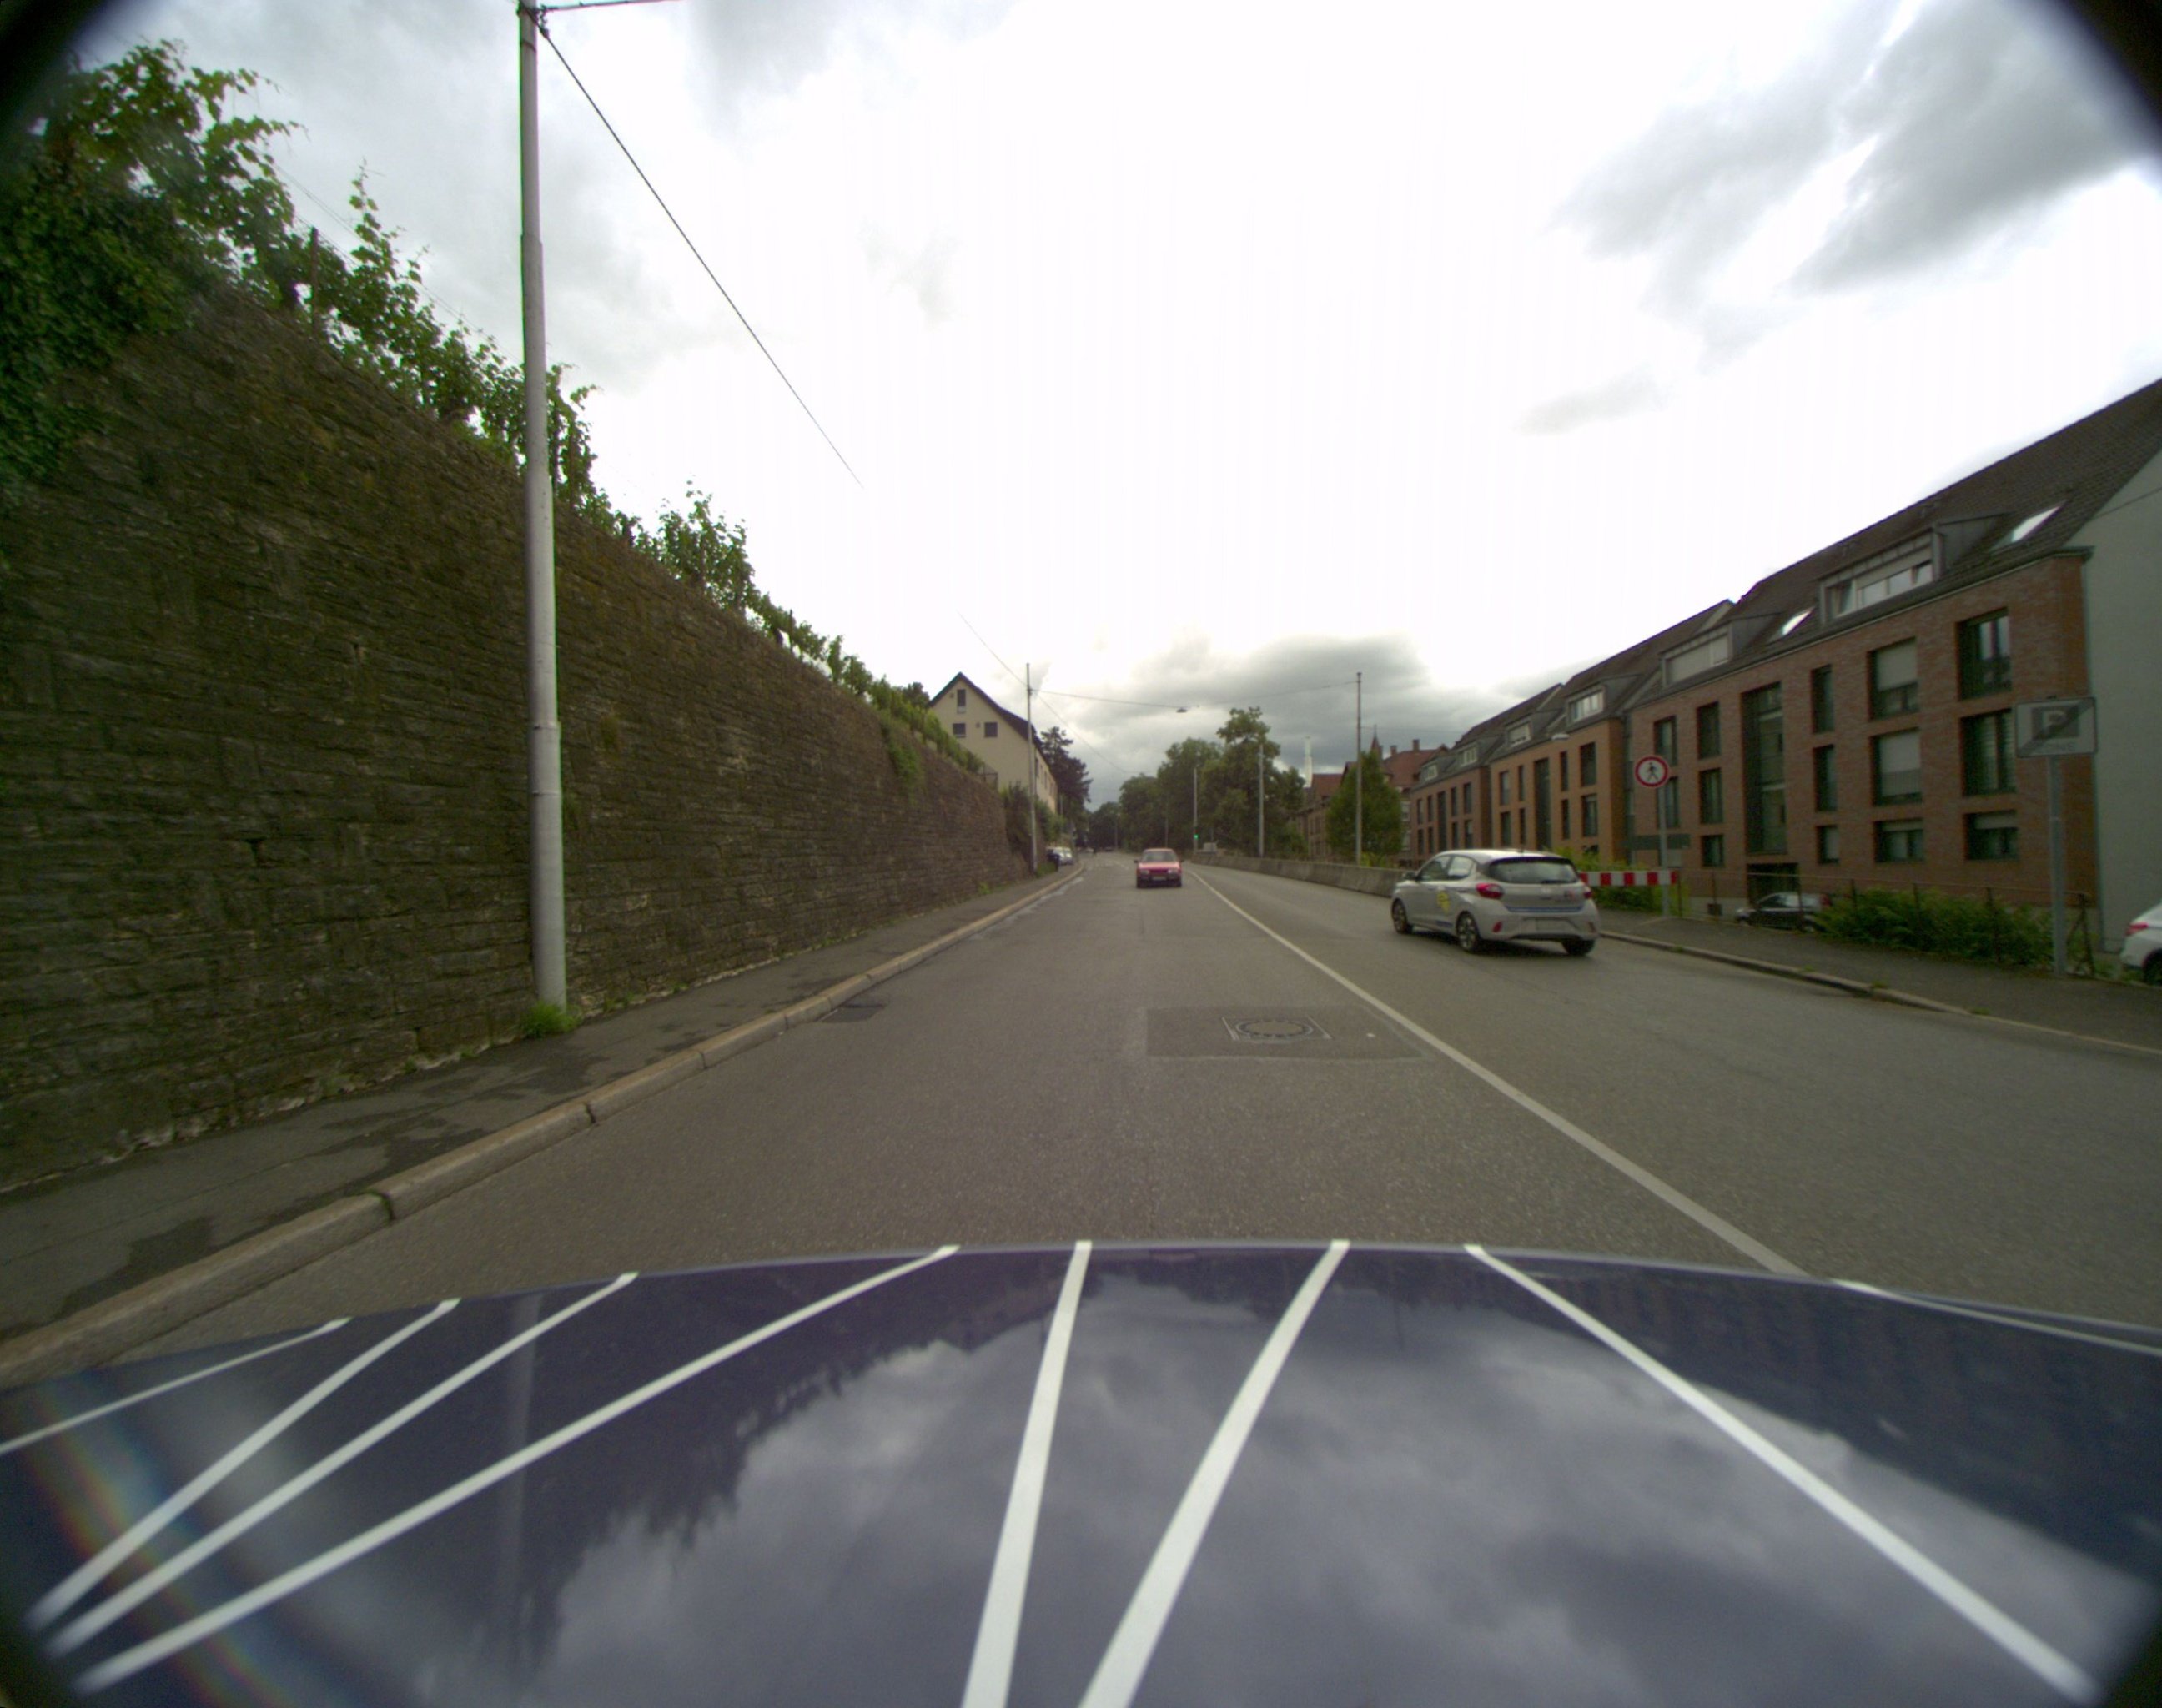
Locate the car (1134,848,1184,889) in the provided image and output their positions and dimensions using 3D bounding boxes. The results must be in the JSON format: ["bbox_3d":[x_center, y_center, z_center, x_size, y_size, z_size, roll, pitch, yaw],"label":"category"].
[{"bbox_3d":[2.924,0.521,29.176,1.646,1.430,4.000,-1,0,2],"label":"car"}]

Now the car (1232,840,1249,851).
[{"bbox_3d":[23.293,-1.197,110.992,1.998,1.543,4.001,-2,0,5],"label":"car"}]

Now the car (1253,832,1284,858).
[{"bbox_3d":[19.925,-0.965,80.919,2.564,2.567,5.737,-2,2,8],"label":"car"}]

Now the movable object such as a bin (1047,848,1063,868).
[{"bbox_3d":[-1.532,0.210,44.161,0.810,1.120,0.875,-1,1,4],"label":"movable object such as a bin"}]

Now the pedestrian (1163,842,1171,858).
[{"bbox_3d":[9.033,-0.434,80.008,0.734,1.702,0.696,-1,1,7],"label":"pedestrian"}]

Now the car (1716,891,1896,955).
[{"bbox_3d":[22.774,2.112,24.123,1.998,1.652,4.001,1,0,2],"label":"car"}]

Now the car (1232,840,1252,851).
[{"bbox_3d":[20.203,-1.054,95.288,1.998,1.346,4.001,0,1,5],"label":"car"}]

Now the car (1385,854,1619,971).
[{"bbox_3d":[6.235,0.783,11.775,1.673,1.459,3.644,3,0,2],"label":"car"}]

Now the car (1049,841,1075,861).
[{"bbox_3d":[-1.640,-0.278,65.535,1.731,1.566,4.249,-2,1,5],"label":"car"}]

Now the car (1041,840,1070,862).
[{"bbox_3d":[-1.988,-0.246,60.832,1.798,1.566,4.056,-2,1,5],"label":"car"}]

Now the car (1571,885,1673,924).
[{"bbox_3d":[24.273,2.233,34.259,1.998,1.477,4.002,1,0,5],"label":"car"}]

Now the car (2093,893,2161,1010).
[{"bbox_3d":[15.208,1.331,8.616,1.831,1.505,4.425,-2,1,6],"label":"car"}]
